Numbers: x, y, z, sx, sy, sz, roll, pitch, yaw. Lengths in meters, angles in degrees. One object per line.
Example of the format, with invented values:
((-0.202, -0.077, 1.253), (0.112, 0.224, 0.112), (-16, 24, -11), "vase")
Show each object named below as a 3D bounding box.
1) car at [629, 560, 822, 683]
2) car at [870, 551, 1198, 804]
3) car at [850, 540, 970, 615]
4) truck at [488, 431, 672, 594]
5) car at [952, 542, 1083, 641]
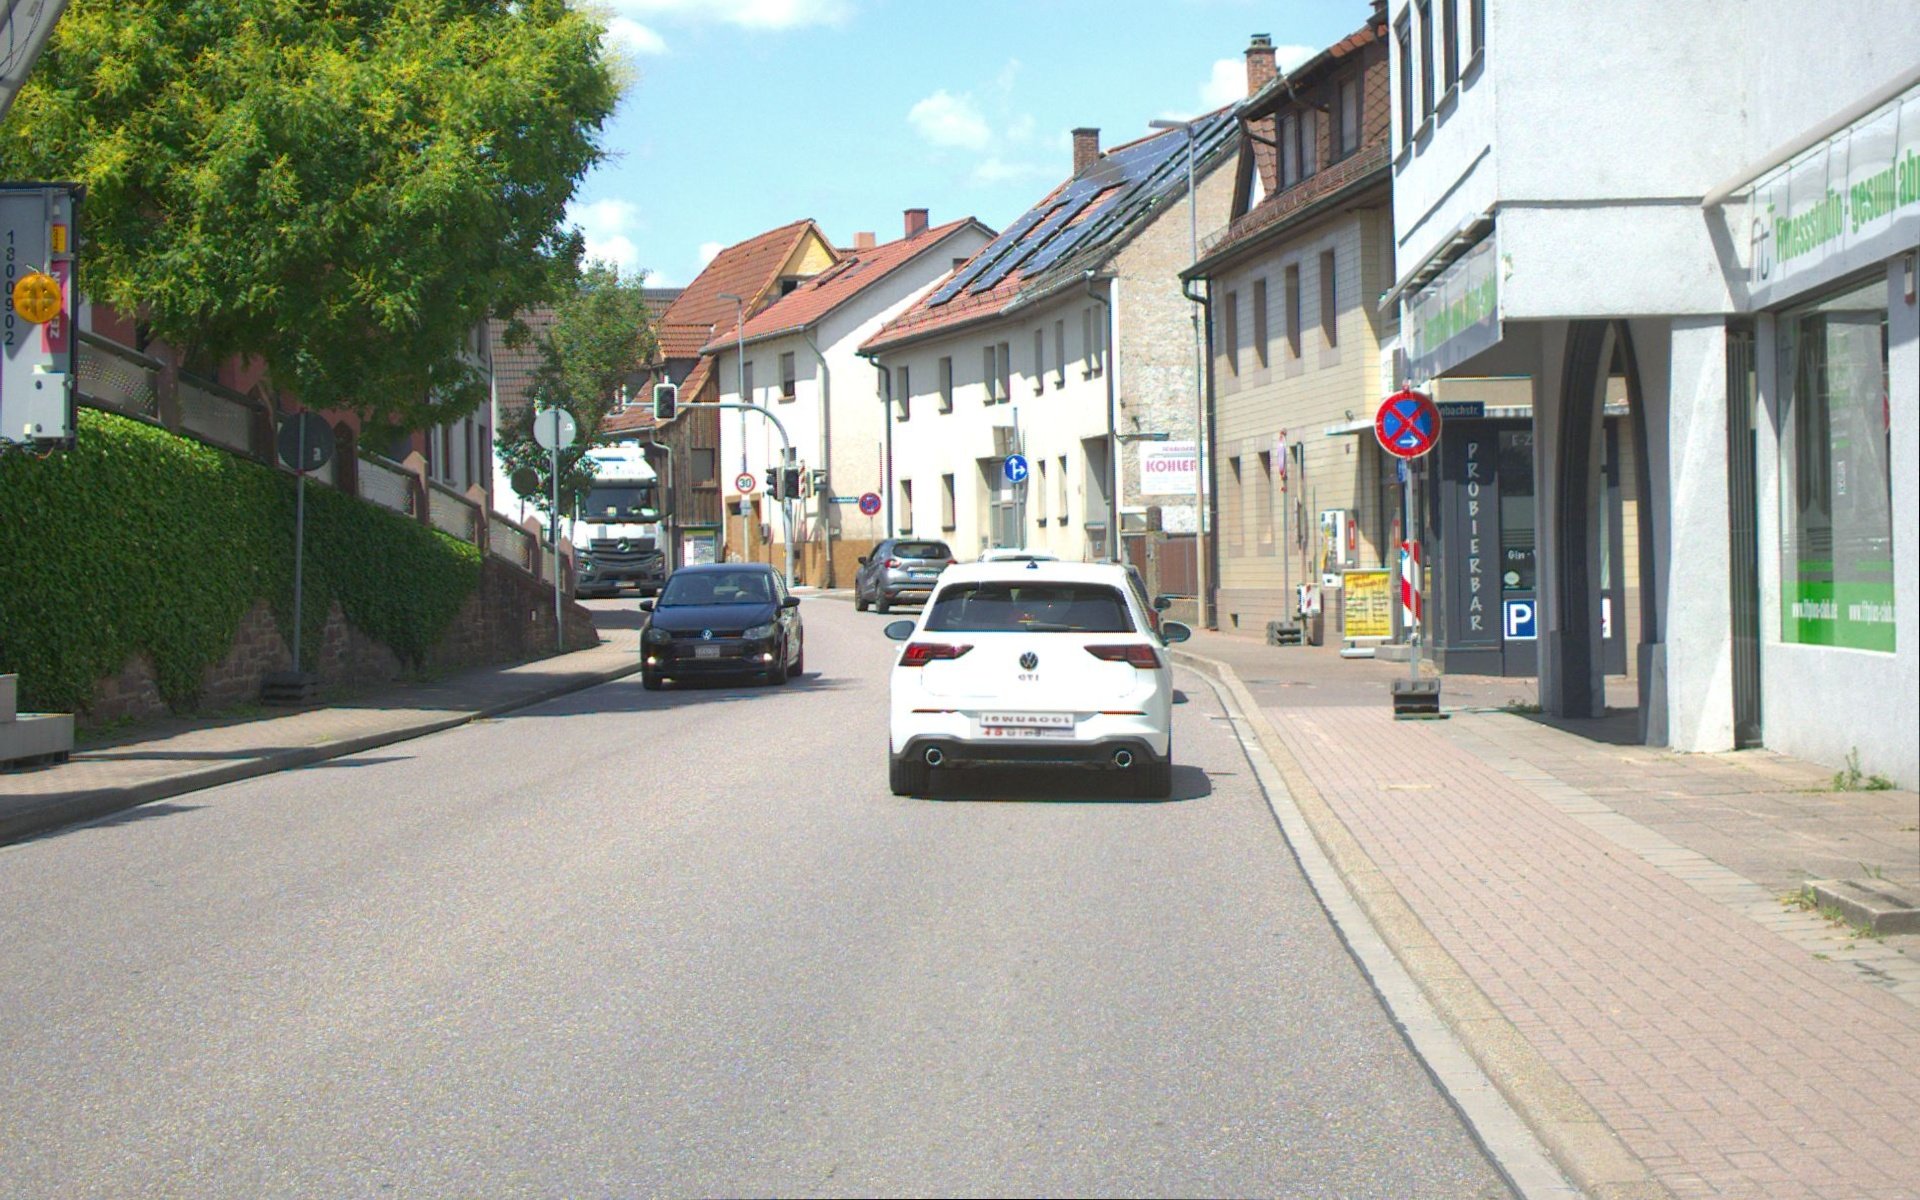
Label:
((-2.712, 0.218, 40.559), (1.794, 1.373, 4.116), (0, 1, 3), "car")
((0.390, 0.451, 22.352), (1.807, 1.462, 4.000), (1, 0, -3), "car")
((-1.078, -0.483, 71.861), (1.775, 1.533, 4.001), (0, 1, -12), "car")
((-10.002, -2.223, 89.601), (2.645, 4.015, 9.193), (0, 1, -20), "truck")
((0.865, -0.142, 53.984), (1.807, 1.462, 4.000), (1, 0, -2), "car")
